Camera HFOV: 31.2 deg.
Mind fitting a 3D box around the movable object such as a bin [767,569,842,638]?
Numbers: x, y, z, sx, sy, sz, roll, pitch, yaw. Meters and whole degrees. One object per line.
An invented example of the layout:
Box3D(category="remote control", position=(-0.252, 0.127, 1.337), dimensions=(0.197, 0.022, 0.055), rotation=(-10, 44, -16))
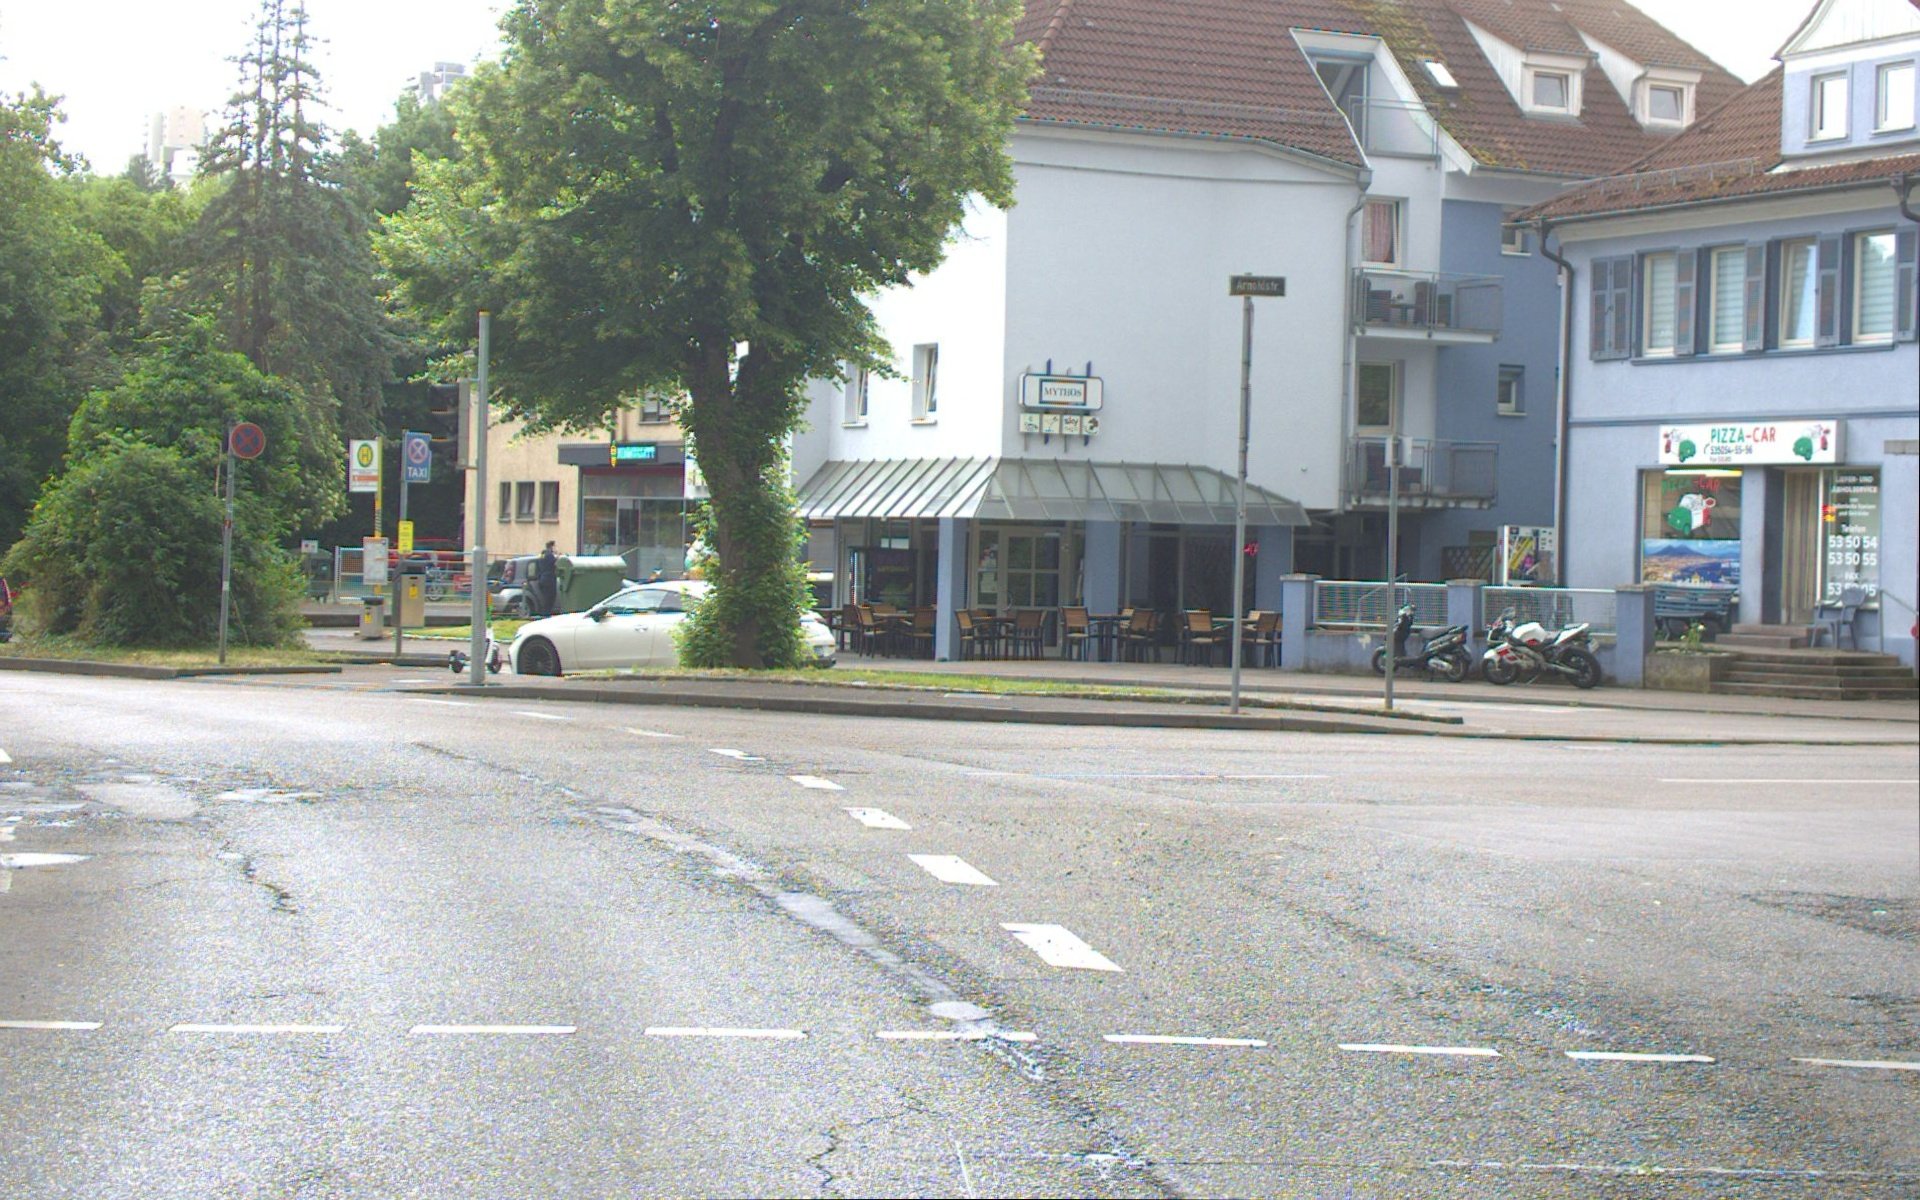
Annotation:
Box3D(category="movable object such as a bin", position=(-3.193, 0.060, 70.542), dimensions=(1.214, 1.390, 1.161), rotation=(1, 0, -22))

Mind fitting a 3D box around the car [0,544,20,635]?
Box3D(category="car", position=(-16.546, -0.228, 53.625), dimensions=(3.489, 1.399, 1.571), rotation=(3, 1, 28))

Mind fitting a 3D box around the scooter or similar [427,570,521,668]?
Box3D(category="scooter or similar", position=(-6.032, 0.243, 42.729), dimensions=(0.412, 1.163, 1.360), rotation=(2, -2, 26))

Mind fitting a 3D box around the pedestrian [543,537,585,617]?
Box3D(category="pedestrian", position=(-8.602, -0.507, 74.627), dimensions=(0.687, 1.723, 0.611), rotation=(1, 0, -32))

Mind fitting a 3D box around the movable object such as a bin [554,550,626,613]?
Box3D(category="movable object such as a bin", position=(-7.959, -0.399, 73.946), dimensions=(1.216, 1.340, 0.995), rotation=(1, 1, -31))

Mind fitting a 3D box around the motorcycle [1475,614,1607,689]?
Box3D(category="motorcycle", position=(8.161, 0.718, 48.347), dimensions=(1.822, 0.982, 0.520), rotation=(2, 1, 43))

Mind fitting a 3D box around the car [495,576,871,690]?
Box3D(category="car", position=(-3.718, 0.410, 45.787), dimensions=(4.782, 1.382, 1.996), rotation=(1, 1, 34))

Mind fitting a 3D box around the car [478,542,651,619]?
Box3D(category="car", position=(-8.714, -0.434, 75.774), dimensions=(3.413, 1.625, 1.625), rotation=(1, 1, -25))

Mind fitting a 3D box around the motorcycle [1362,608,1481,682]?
Box3D(category="motorcycle", position=(6.710, 0.645, 50.057), dimensions=(1.724, 1.028, 0.488), rotation=(2, 1, 43))
